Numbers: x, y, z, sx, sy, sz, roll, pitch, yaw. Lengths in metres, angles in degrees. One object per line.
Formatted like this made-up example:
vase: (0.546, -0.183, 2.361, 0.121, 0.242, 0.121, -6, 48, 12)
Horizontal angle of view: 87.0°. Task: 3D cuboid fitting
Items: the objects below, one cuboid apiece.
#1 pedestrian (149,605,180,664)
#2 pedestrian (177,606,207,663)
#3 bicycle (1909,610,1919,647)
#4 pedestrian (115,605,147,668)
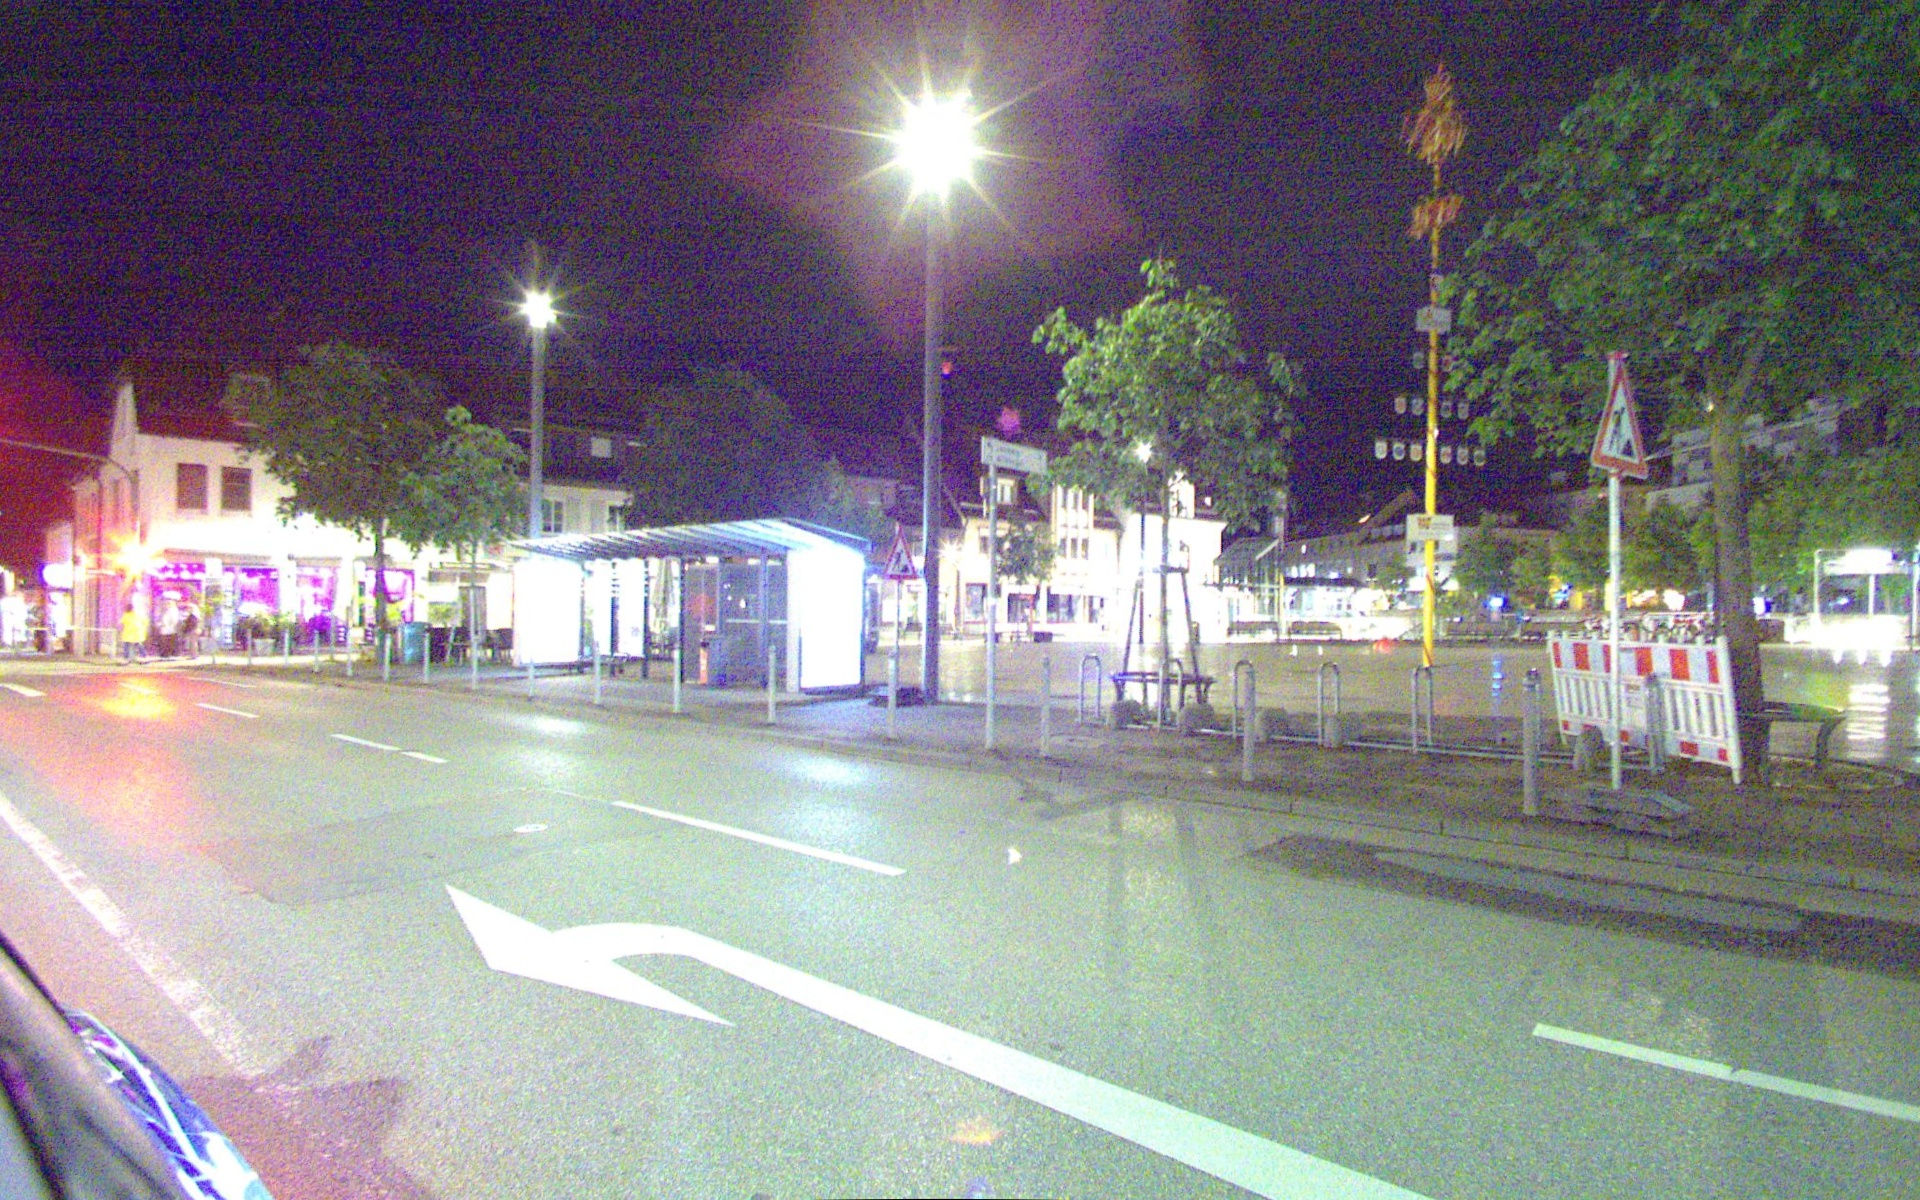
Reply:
pedestrian: (-23.042, 0.991, 29.324, 0.573, 1.694, 0.649, -1, 0, -27)
pedestrian: (-22.492, 1.011, 29.639, 0.573, 1.640, 0.649, -1, 0, -27)
bicycle: (26.414, 0.756, 26.997, 1.525, 0.965, 0.476, -1, 0, 25)
pedestrian: (-22.613, 0.986, 27.621, 0.531, 1.694, 0.649, -1, 0, -27)
